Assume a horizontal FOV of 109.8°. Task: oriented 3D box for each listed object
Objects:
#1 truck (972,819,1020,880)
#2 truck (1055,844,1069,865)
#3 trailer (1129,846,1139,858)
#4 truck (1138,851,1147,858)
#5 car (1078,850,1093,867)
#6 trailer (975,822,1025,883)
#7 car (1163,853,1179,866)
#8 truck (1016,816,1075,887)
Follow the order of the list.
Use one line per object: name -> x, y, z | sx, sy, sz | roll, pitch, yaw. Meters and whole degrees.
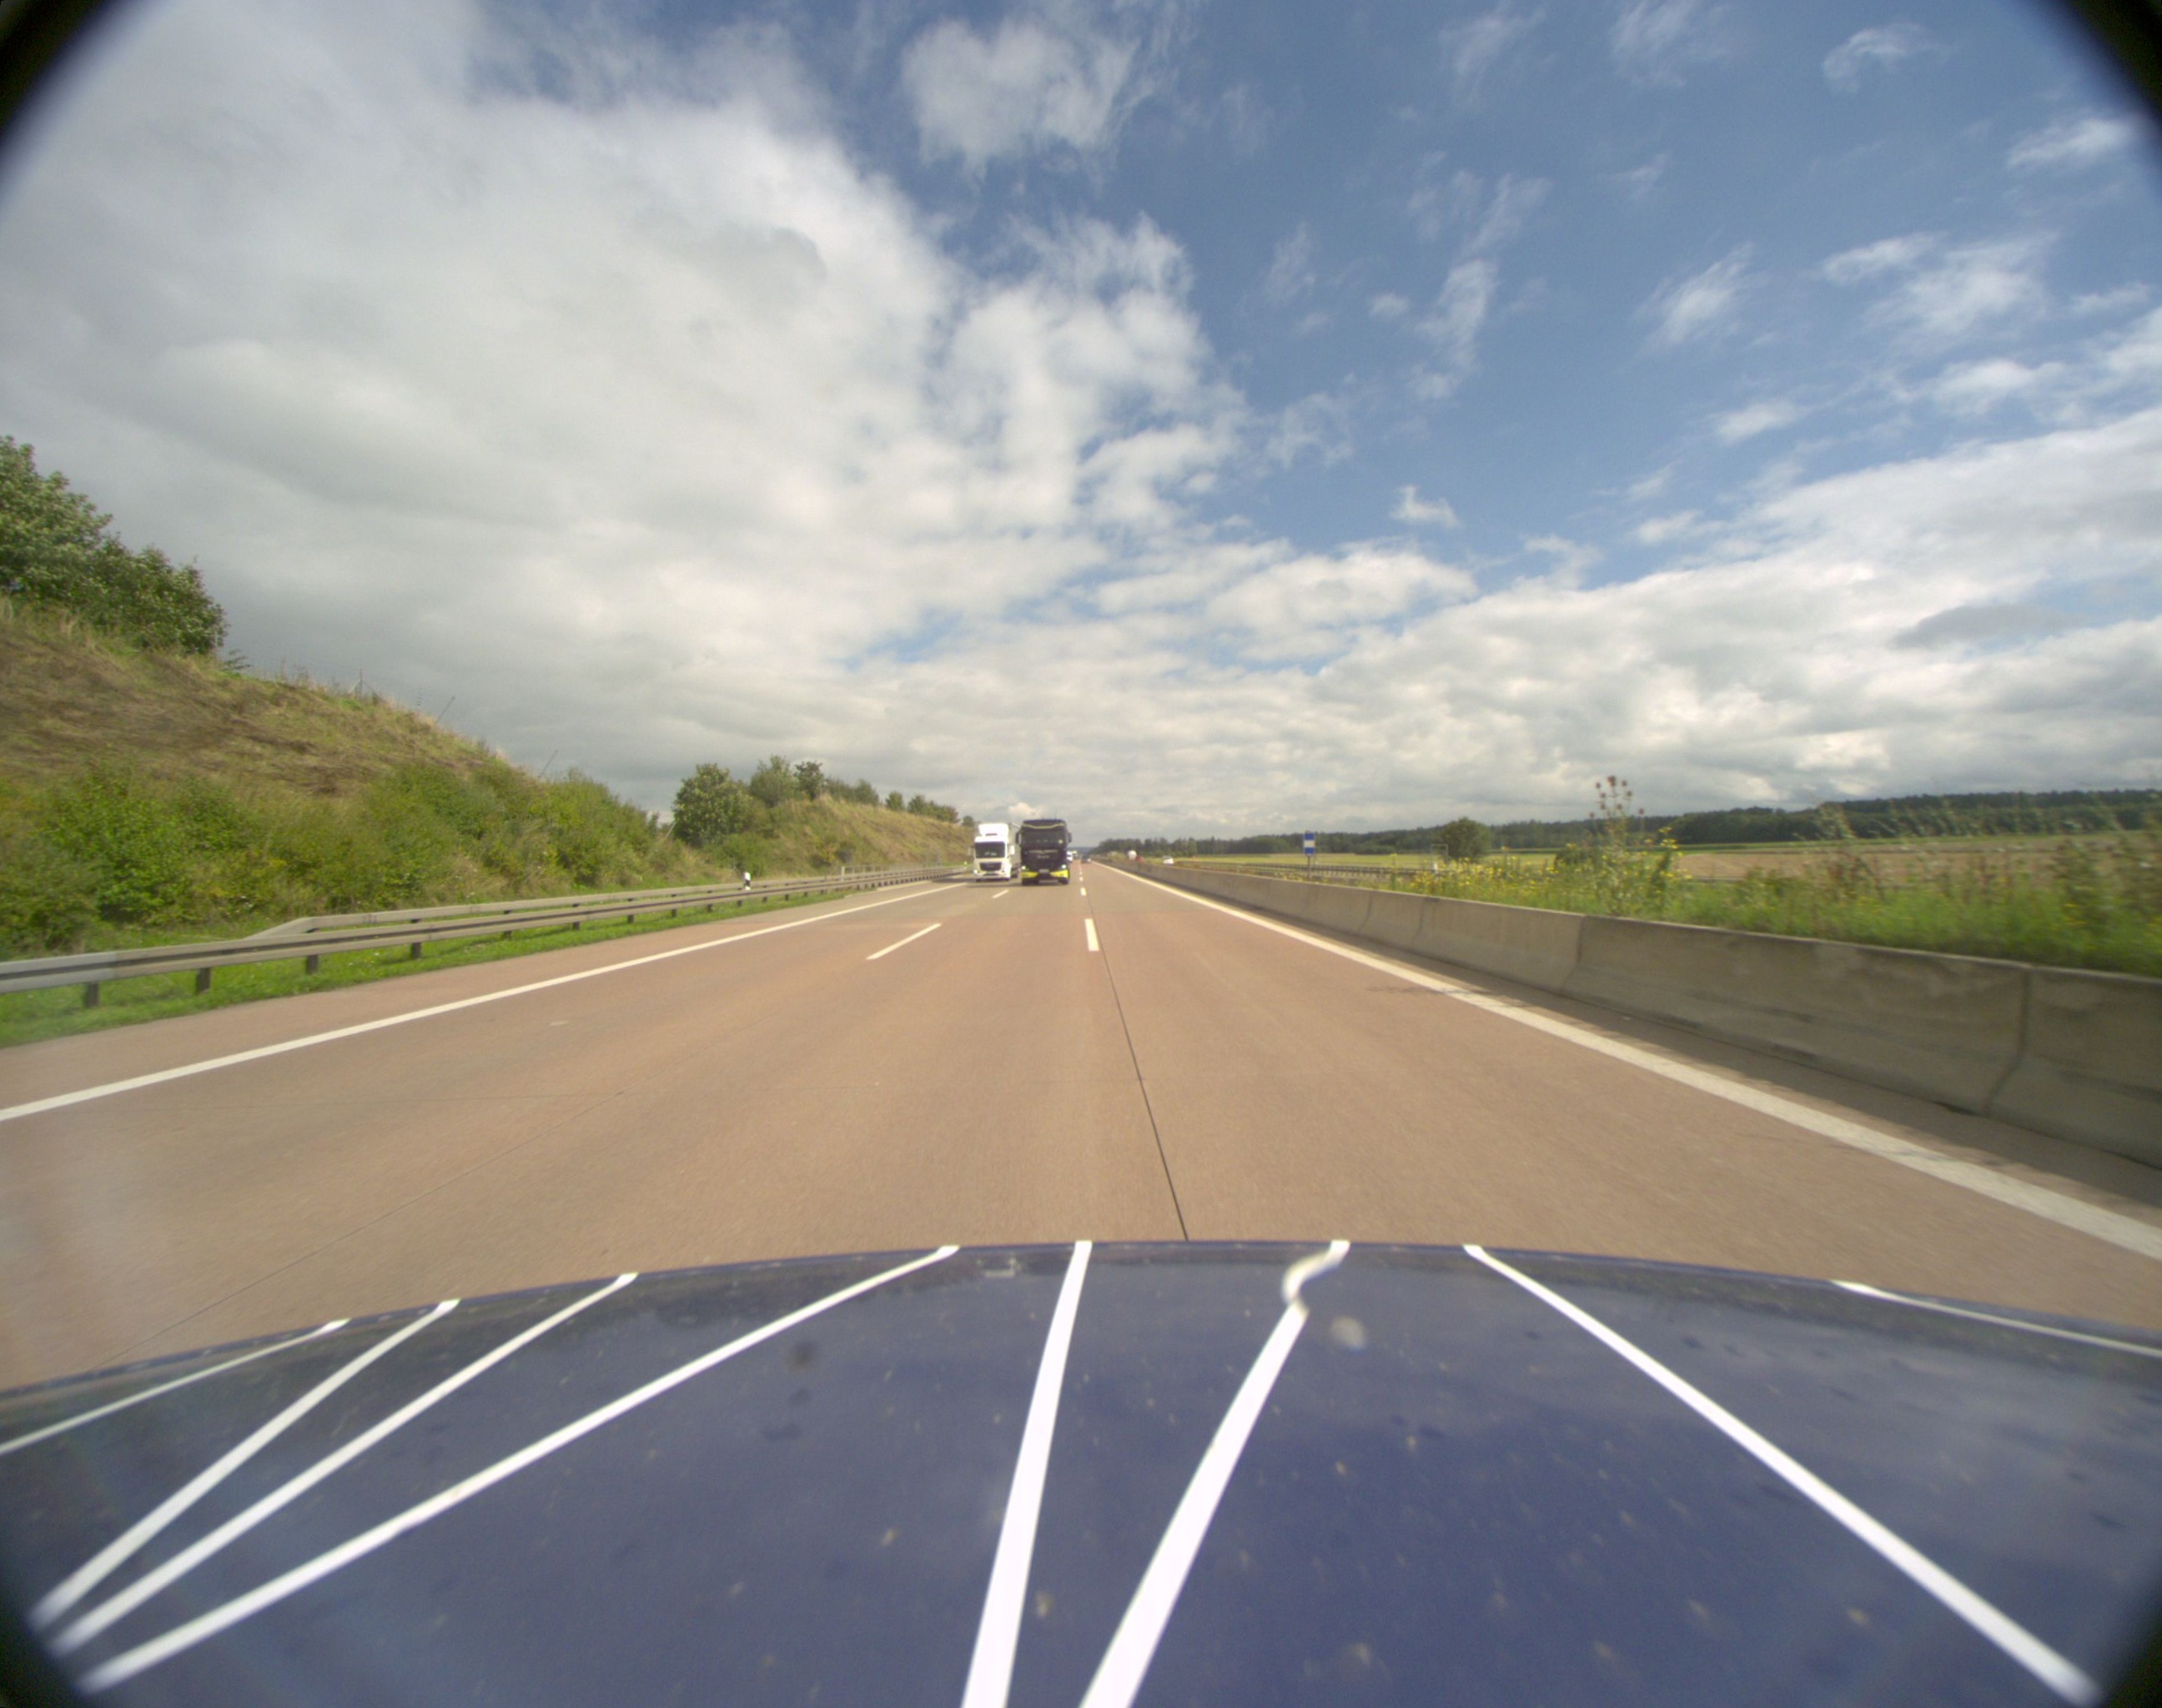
truck -> -5.653, -0.323, 51.241 | 2.756, 3.869, 4.544 | -2, 1, -2
truck -> -4.050, 0.170, 166.644 | 2.681, 4.333, 11.808 | -3, 0, 0
trailer -> 17.959, -0.709, 257.006 | 2.899, 4.074, 11.037 | 1, 0, 1
truck -> 14.278, 0.195, 177.033 | 1.711, 1.565, 4.981 | 1, 0, 0
car -> 0.932, 0.855, 155.940 | 2.773, 3.260, 6.392 | -3, 0, 1
trailer -> -5.742, -0.138, 55.188 | 2.755, 3.989, 8.667 | -2, 1, -2
car -> 14.305, 0.898, 120.448 | 1.998, 2.058, 4.711 | 0, 0, 1
truck -> -1.926, -0.182, 42.956 | 2.855, 3.529, 8.317 | -2, 1, -1
